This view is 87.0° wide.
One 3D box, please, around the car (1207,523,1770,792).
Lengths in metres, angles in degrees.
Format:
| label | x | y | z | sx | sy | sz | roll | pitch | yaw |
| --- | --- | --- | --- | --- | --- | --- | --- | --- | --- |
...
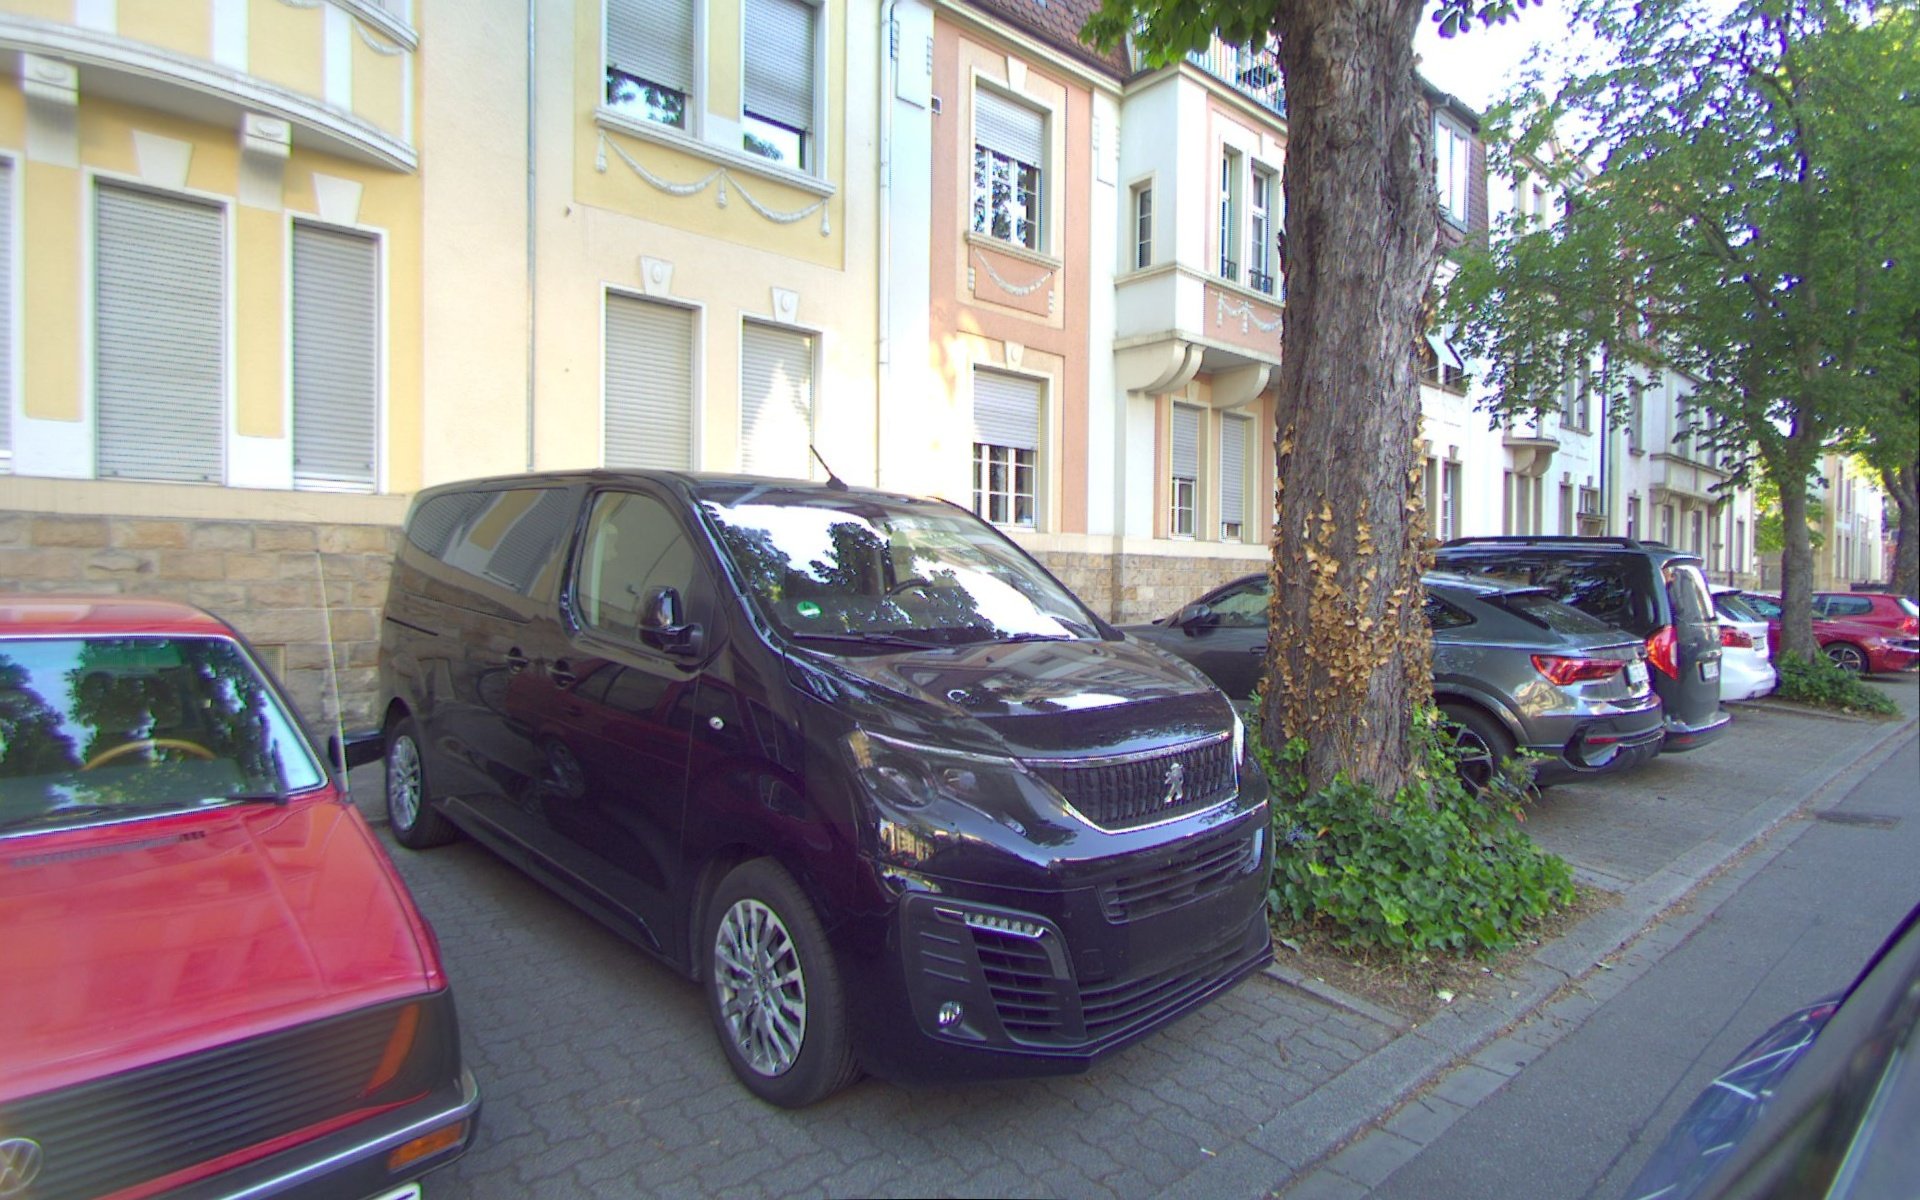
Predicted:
| label | x | y | z | sx | sy | sz | roll | pitch | yaw |
| --- | --- | --- | --- | --- | --- | --- | --- | --- | --- |
| car | 4.521 | 0.306 | 9.149 | 1.814 | 1.860 | 4.116 | 0 | 3 | -42 |

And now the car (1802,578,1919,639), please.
| label | x | y | z | sx | sy | sz | roll | pitch | yaw |
| --- | --- | --- | --- | --- | --- | --- | --- | --- | --- |
| car | 25.874 | 0.232 | 28.034 | 1.548 | 1.576 | 3.681 | 0 | 3 | -39 |

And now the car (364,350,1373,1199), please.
| label | x | y | z | sx | sy | sz | roll | pitch | yaw |
| --- | --- | --- | --- | --- | --- | --- | --- | --- | --- |
| car | -0.937 | 0.322 | 4.479 | 1.867 | 1.897 | 4.753 | -1 | 3 | -44 |

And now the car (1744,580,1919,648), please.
| label | x | y | z | sx | sy | sz | roll | pitch | yaw |
| --- | --- | --- | --- | --- | --- | --- | --- | --- | --- |
| car | 21.856 | 0.297 | 24.976 | 1.548 | 1.484 | 3.681 | 0 | 3 | -39 |

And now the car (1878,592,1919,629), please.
| label | x | y | z | sx | sy | sz | roll | pitch | yaw |
| --- | --- | --- | --- | --- | --- | --- | --- | --- | --- |
| car | 31.900 | 0.381 | 32.469 | 1.515 | 1.164 | 3.399 | 0 | 3 | -39 |

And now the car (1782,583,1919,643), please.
| label | x | y | z | sx | sy | sz | roll | pitch | yaw |
| --- | --- | --- | --- | --- | --- | --- | --- | --- | --- |
| car | 23.976 | 0.320 | 26.386 | 1.548 | 1.416 | 3.681 | 0 | 3 | -39 |

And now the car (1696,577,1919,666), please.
| label | x | y | z | sx | sy | sz | roll | pitch | yaw |
| --- | --- | --- | --- | --- | --- | --- | --- | --- | --- |
| car | 16.898 | 0.353 | 19.821 | 1.628 | 1.499 | 3.682 | 0 | 2 | -38 |

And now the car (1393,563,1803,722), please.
| label | x | y | z | sx | sy | sz | roll | pitch | yaw |
| --- | --- | --- | --- | --- | --- | --- | --- | --- | --- |
| car | 7.705 | 0.375 | 12.528 | 1.689 | 1.597 | 3.948 | 0 | 3 | -41 |

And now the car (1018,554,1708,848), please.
| label | x | y | z | sx | sy | sz | roll | pitch | yaw |
| --- | --- | --- | --- | --- | --- | --- | --- | --- | --- |
| car | 2.725 | 0.458 | 7.683 | 1.815 | 1.542 | 4.513 | -1 | 3 | -44 |

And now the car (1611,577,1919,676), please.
| label | x | y | z | sx | sy | sz | roll | pitch | yaw |
| --- | --- | --- | --- | --- | --- | --- | --- | --- | --- |
| car | 14.789 | 0.382 | 18.465 | 1.833 | 1.470 | 4.533 | 0 | 3 | -38 |

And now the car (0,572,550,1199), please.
| label | x | y | z | sx | sy | sz | roll | pitch | yaw |
| --- | --- | --- | --- | --- | --- | --- | --- | --- | --- |
| car | -2.872 | 0.625 | 3.038 | 1.603 | 1.332 | 4.140 | -1 | 3 | -44 |

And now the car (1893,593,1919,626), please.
| label | x | y | z | sx | sy | sz | roll | pitch | yaw |
| --- | --- | --- | --- | --- | --- | --- | --- | --- | --- |
| car | 34.280 | 0.381 | 34.532 | 1.515 | 1.076 | 3.399 | 0 | 3 | -39 |
